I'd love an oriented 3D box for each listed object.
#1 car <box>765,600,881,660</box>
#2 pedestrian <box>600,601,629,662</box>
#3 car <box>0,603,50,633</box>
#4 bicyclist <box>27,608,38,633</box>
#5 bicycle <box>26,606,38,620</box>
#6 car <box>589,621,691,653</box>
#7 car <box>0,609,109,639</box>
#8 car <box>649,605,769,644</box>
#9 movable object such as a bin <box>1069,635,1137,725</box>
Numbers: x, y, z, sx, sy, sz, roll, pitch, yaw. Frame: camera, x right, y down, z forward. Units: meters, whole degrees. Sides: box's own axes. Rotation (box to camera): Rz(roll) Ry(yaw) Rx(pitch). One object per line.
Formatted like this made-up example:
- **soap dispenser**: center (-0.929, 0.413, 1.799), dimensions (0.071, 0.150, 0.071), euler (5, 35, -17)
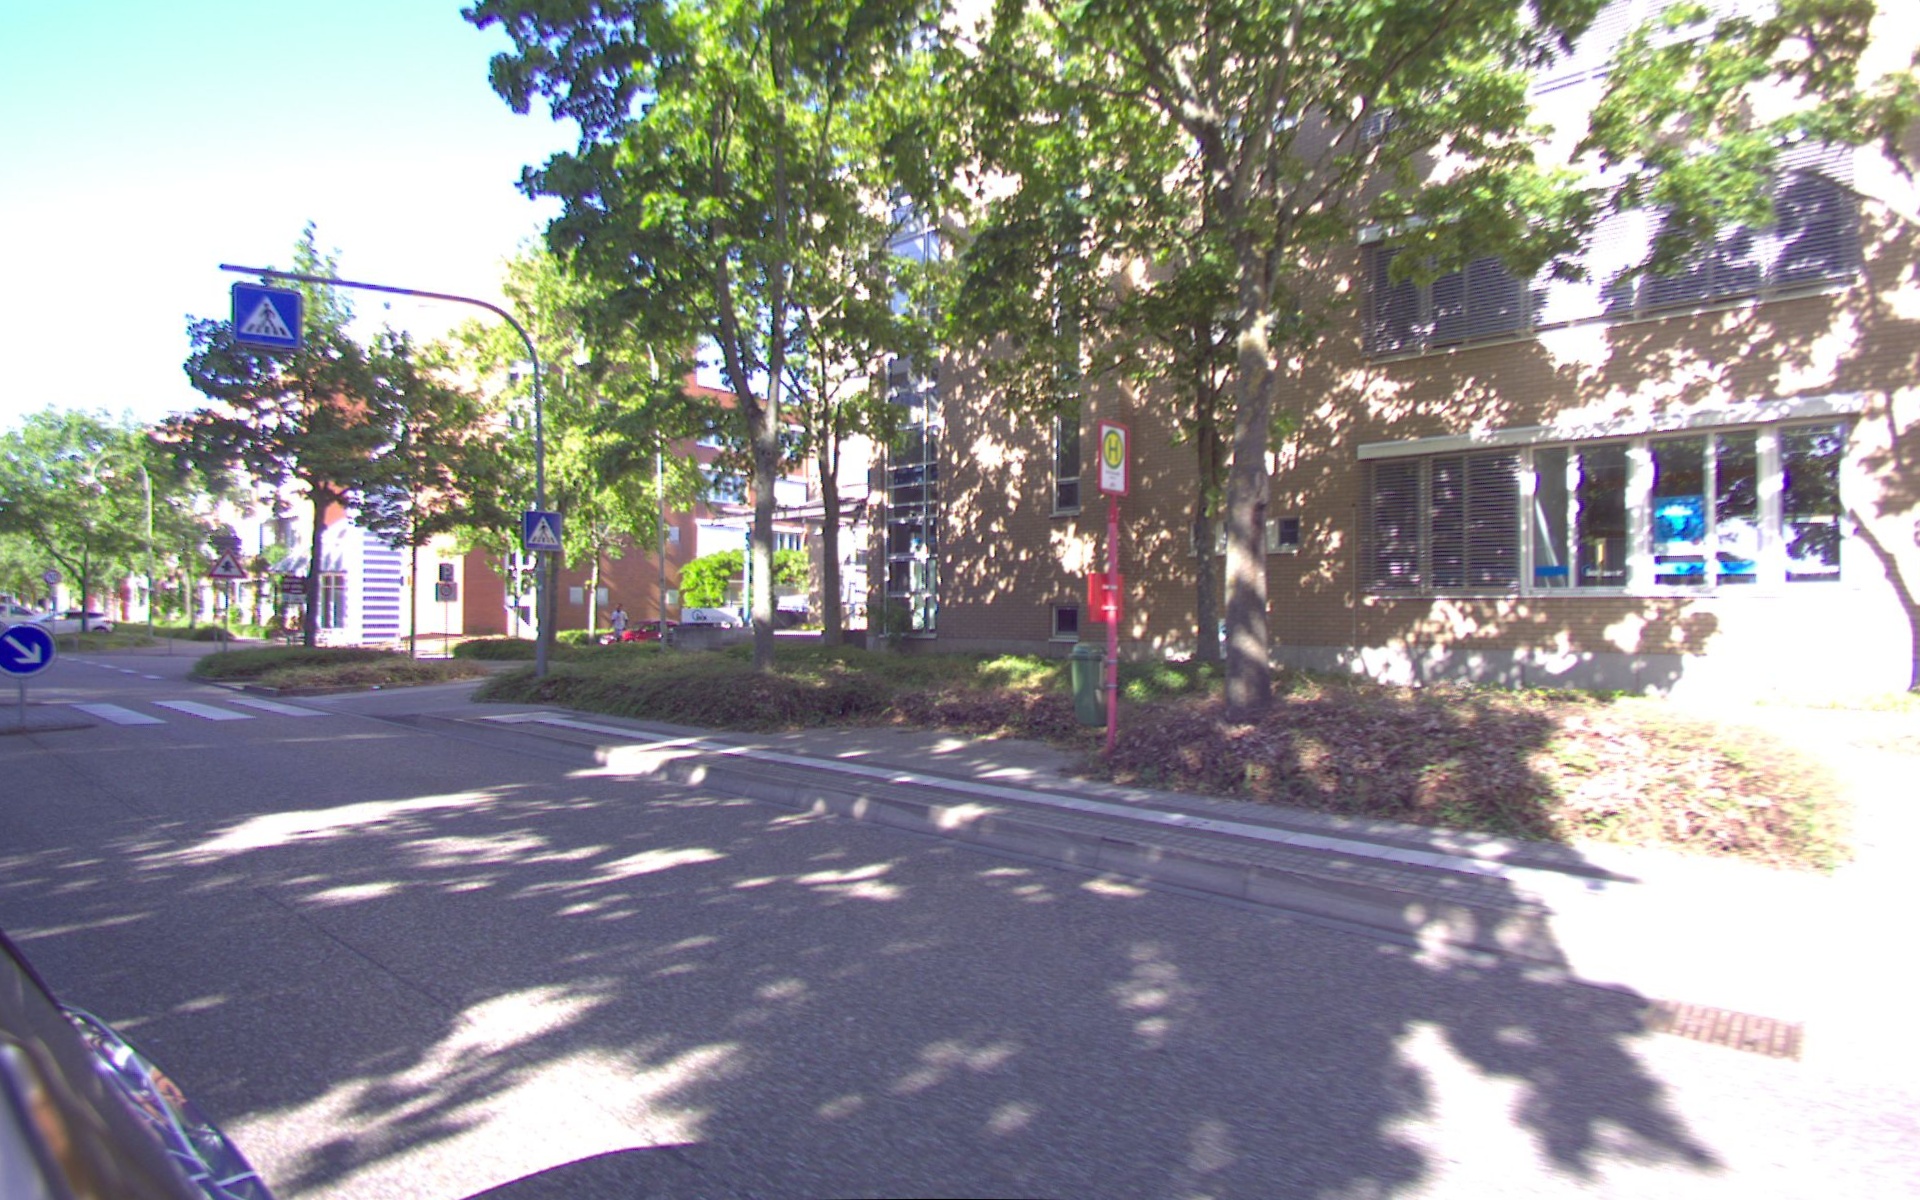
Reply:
- **car**: center (-6.186, 1.370, 46.373), dimensions (1.922, 2.588, 5.405), euler (-1, -2, 40)
- **pedestrian**: center (-11.177, 1.023, 32.768), dimensions (0.672, 1.932, 0.615), euler (-1, -3, 43)
- **car**: center (-62.302, 1.118, 65.171), dimensions (2.000, 1.901, 5.247), euler (-1, -2, 42)
- **bicyclist**: center (-76.256, 1.652, 83.186), dimensions (0.609, 2.029, 0.625), euler (-1, 0, 44)
- **bicycle**: center (-76.317, 1.077, 83.244), dimensions (0.628, 1.107, 2.156), euler (-1, 1, -45)
- **car**: center (-15.445, 1.757, 48.962), dimensions (1.847, 1.463, 4.379), euler (-1, -2, 42)
- **car**: center (-45.207, 1.164, 50.512), dimensions (1.617, 1.430, 3.952), euler (-1, -1, 40)
- **car**: center (-10.298, 1.000, 41.833), dimensions (1.845, 1.519, 4.663), euler (-1, -2, 38)
- **movable object such as a bin**: center (1.244, 0.686, 8.803), dimensions (0.408, 0.736, 0.437), euler (-1, 0, 41)
